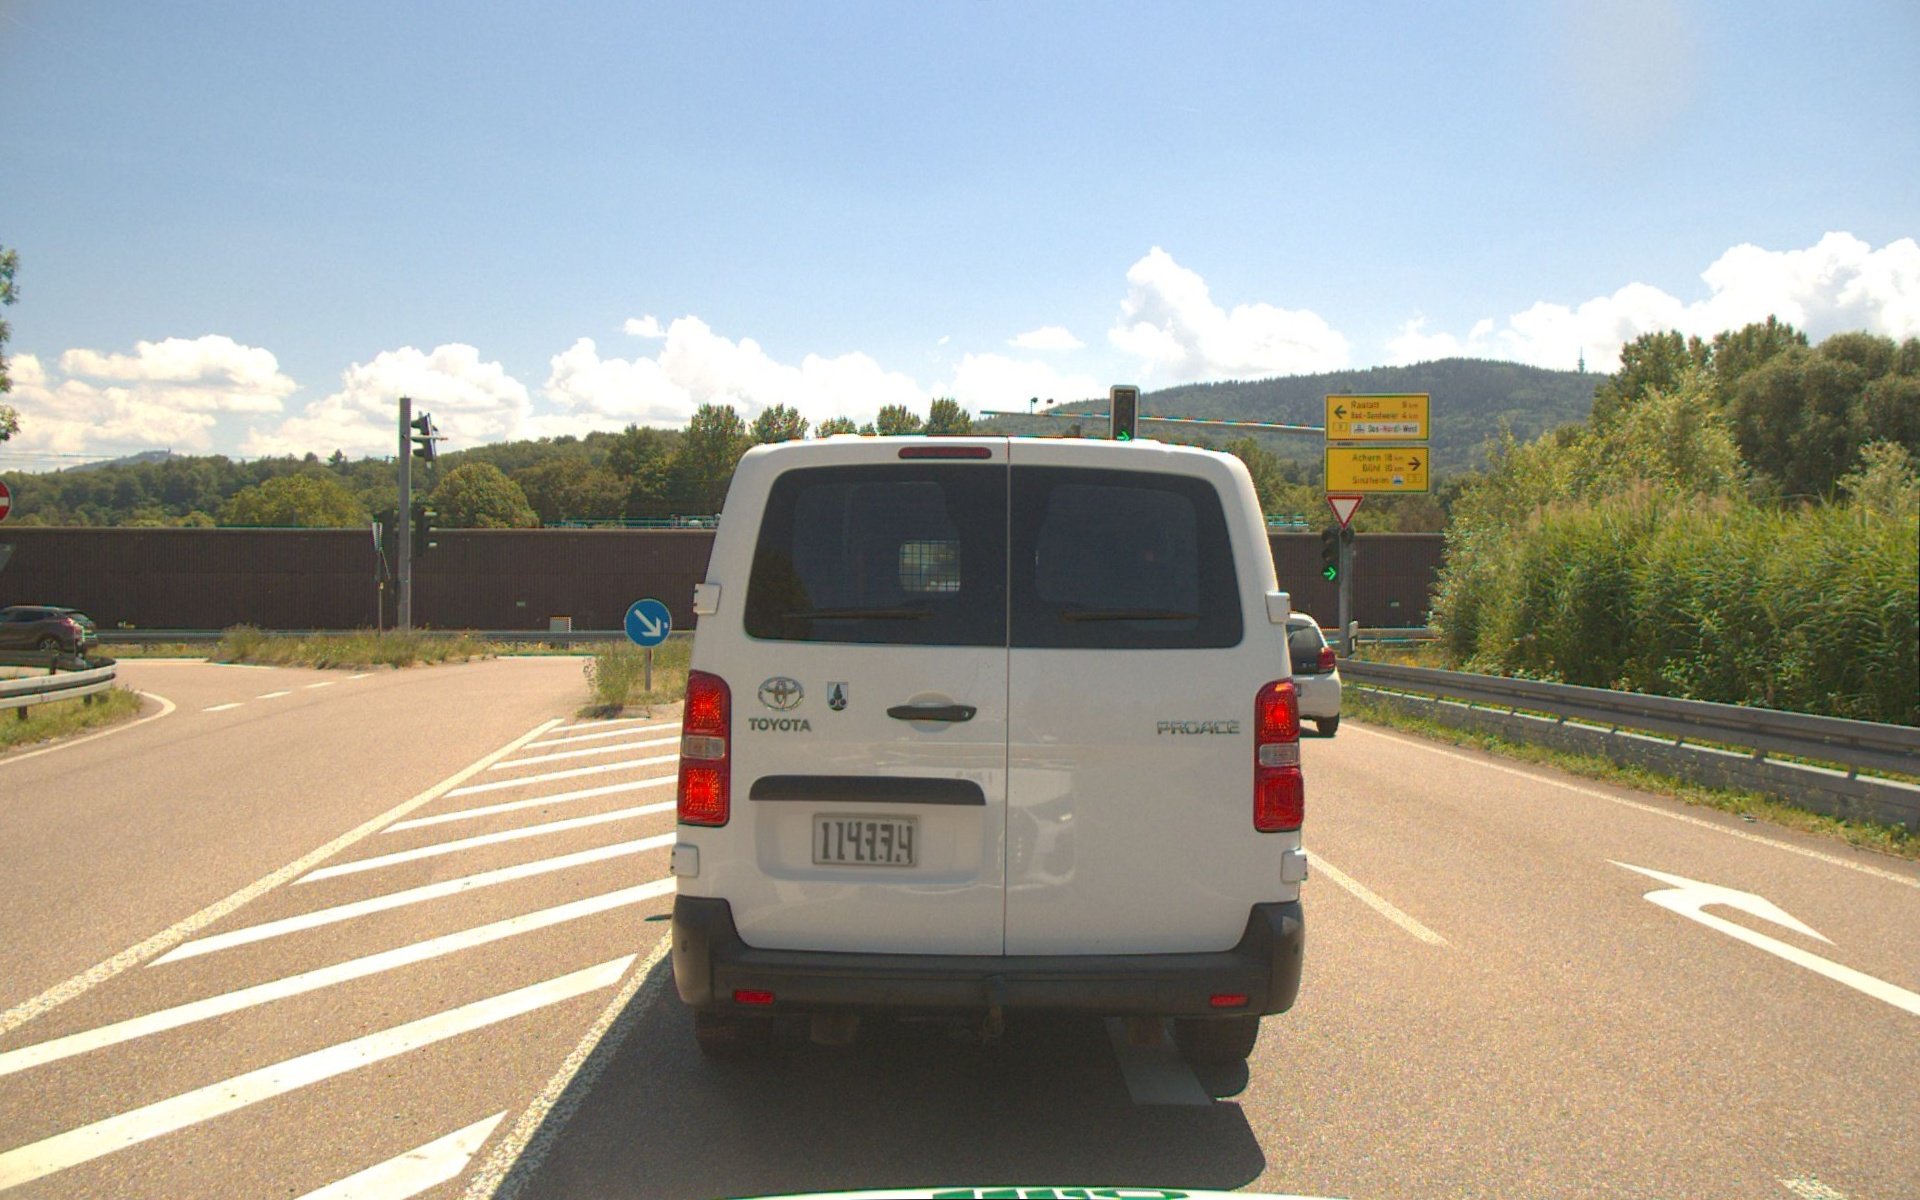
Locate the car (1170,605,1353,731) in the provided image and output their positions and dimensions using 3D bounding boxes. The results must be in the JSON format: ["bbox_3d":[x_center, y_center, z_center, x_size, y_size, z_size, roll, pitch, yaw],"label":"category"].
[{"bbox_3d":[3.723,0.800,20.947,1.622,1.456,3.364,1,0,-1],"label":"car"}]

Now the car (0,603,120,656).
[{"bbox_3d":[-28.506,0.905,51.272,3.907,1.583,1.999,1,0,-3],"label":"car"}]

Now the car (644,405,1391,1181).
[{"bbox_3d":[0.107,0.496,6.140,1.848,1.919,3.999,1,0,-1],"label":"car"}]

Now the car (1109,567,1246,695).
[{"bbox_3d":[3.744,0.513,29.262,1.888,2.035,4.838,1,0,1],"label":"car"}]

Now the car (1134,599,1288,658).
[{"bbox_3d":[7.472,0.841,49.465,4.226,1.685,1.998,0,0,-6],"label":"car"}]
